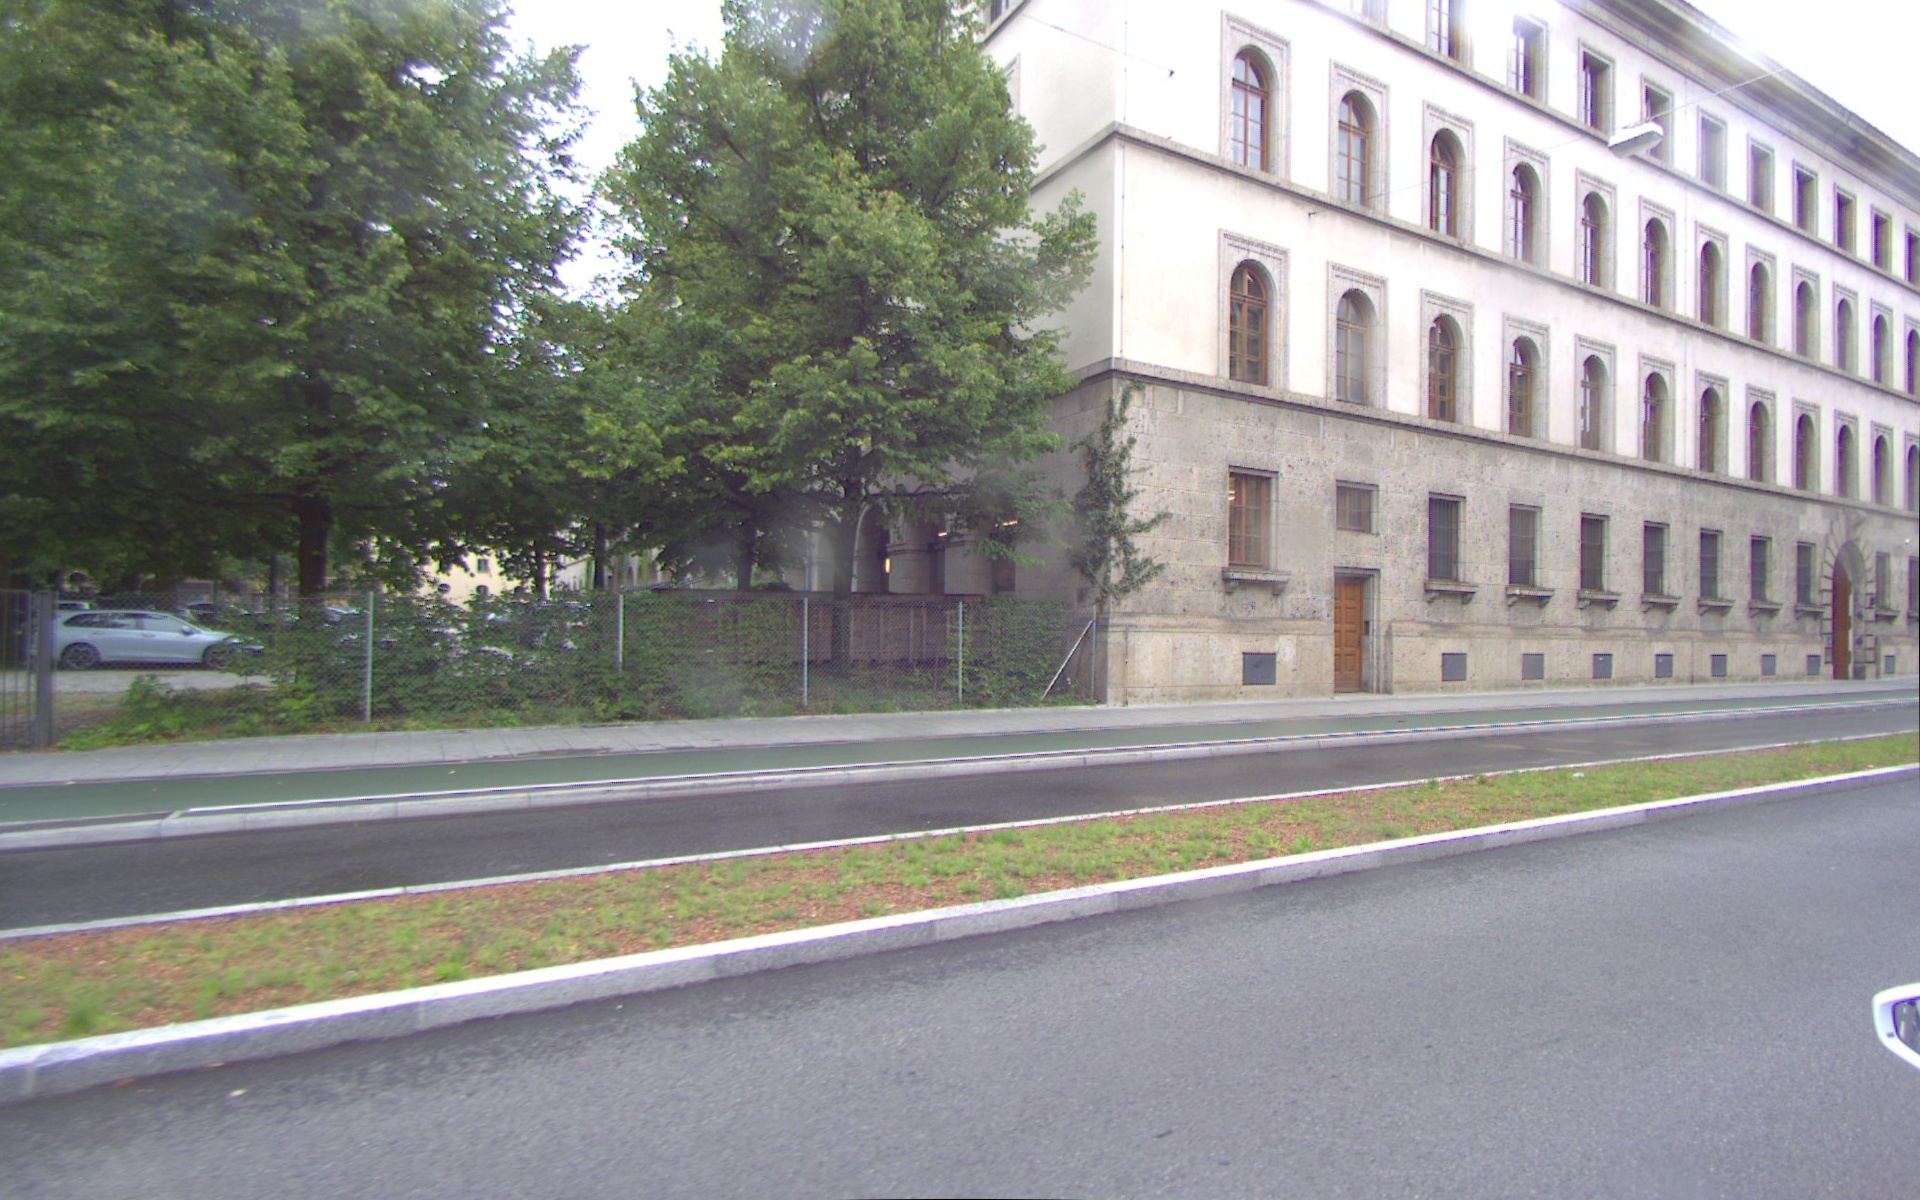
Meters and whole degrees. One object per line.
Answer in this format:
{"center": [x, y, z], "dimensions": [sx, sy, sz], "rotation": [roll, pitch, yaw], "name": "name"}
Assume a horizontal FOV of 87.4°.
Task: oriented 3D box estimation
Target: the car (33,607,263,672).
{"center": [-20.110, 0.971, 25.161], "dimensions": [4.214, 1.467, 1.982], "rotation": [2, 0, -32], "name": "car"}
